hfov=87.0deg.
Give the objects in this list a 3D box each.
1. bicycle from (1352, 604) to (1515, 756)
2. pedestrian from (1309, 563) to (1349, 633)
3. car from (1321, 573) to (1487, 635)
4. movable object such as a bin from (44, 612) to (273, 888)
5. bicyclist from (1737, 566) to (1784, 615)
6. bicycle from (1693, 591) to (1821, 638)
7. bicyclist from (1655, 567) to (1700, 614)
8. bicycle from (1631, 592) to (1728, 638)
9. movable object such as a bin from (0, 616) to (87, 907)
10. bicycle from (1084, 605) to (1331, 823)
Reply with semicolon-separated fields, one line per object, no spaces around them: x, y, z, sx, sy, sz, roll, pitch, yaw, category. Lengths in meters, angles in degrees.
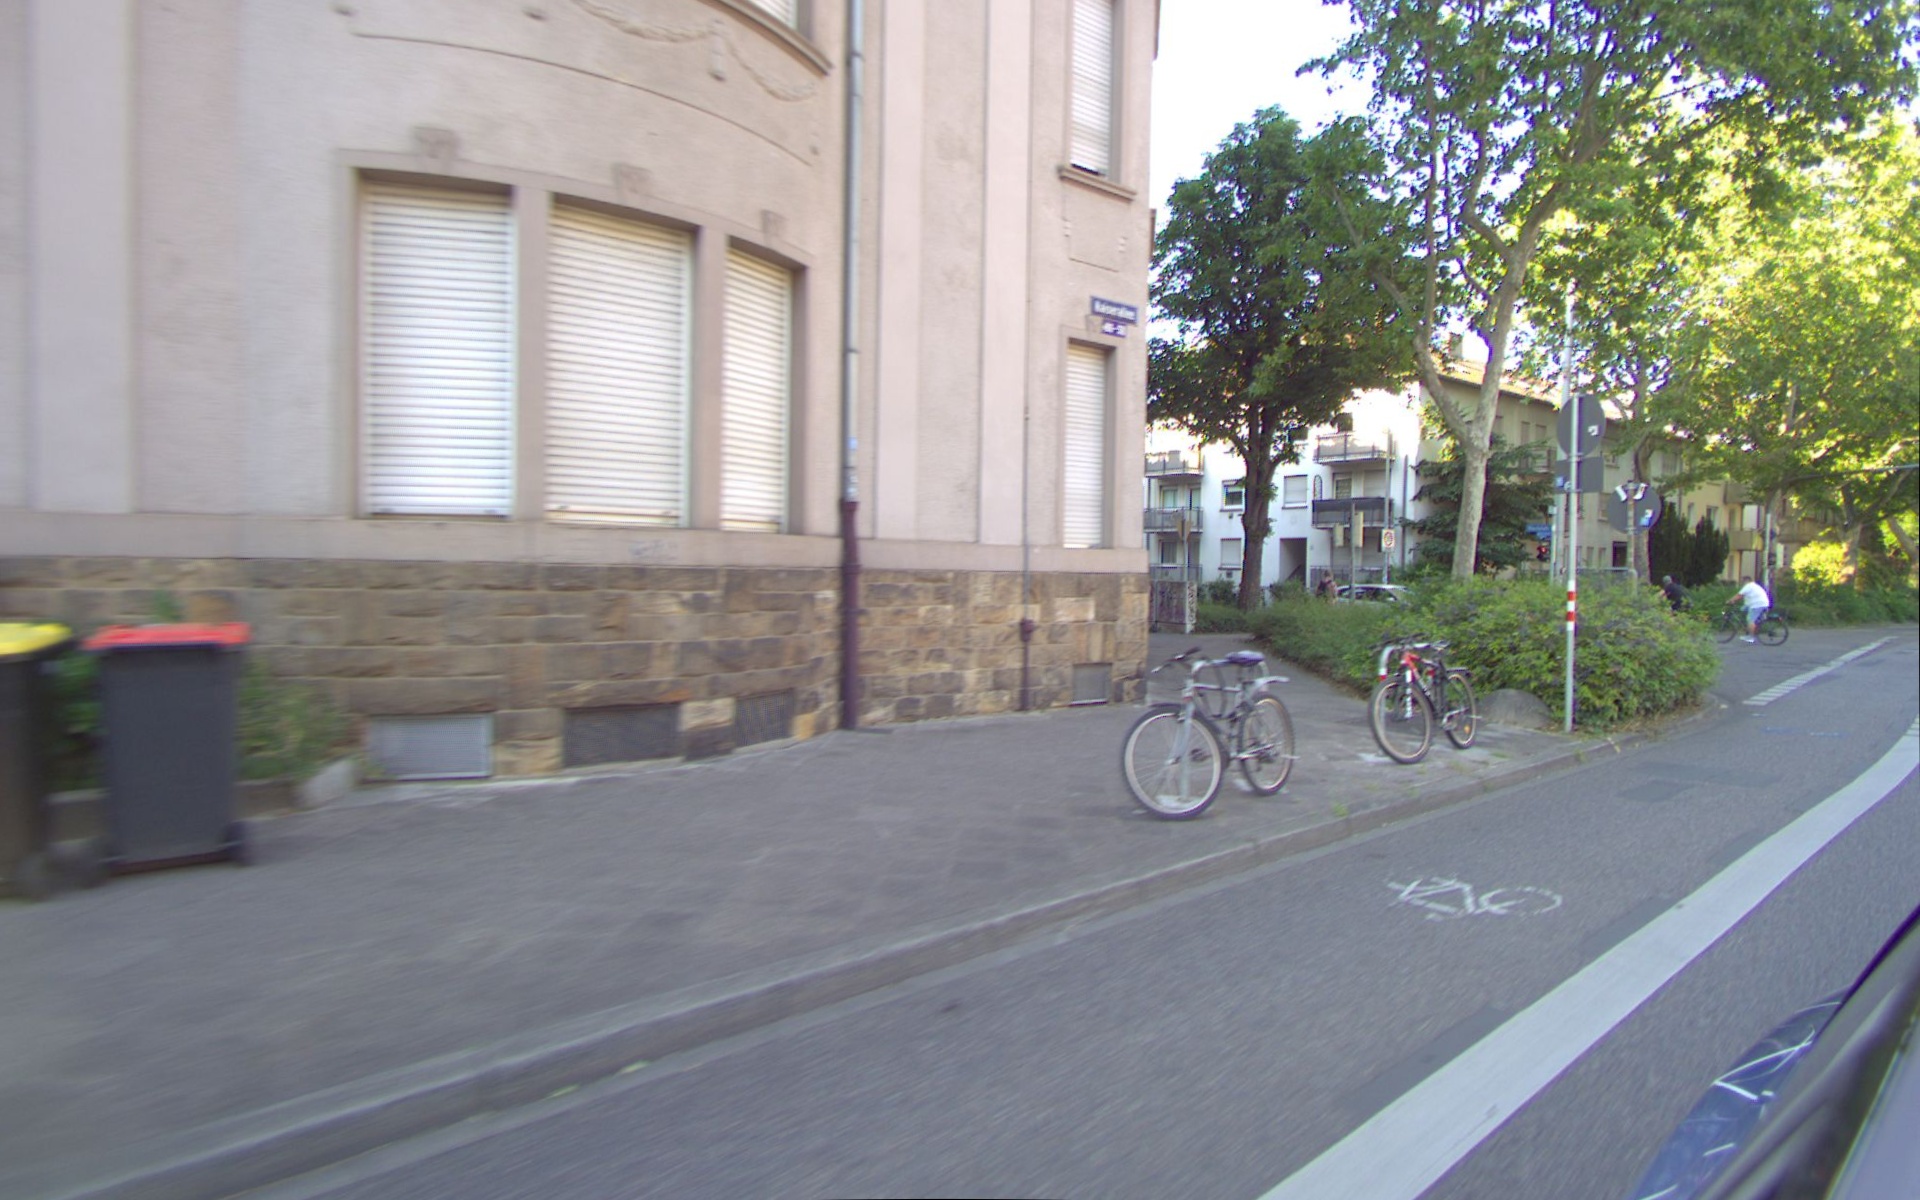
3.838;0.590;8.131;1.840;1.082;0.371;0;2;-38;bicycle
9.716;-0.067;26.659;0.688;1.828;0.667;-1;2;-29;pedestrian
12.499;0.040;28.756;1.746;1.544;4.061;-1;3;-31;car
-3.460;0.605;4.427;0.645;1.059;0.572;-1;2;-24;movable object such as a bin
20.803;-0.263;26.309;0.648;1.251;0.768;-1;3;-33;bicyclist
20.728;0.342;26.392;0.640;1.119;2.554;-1;2;-33;bicycle
18.422;-0.261;25.984;0.600;1.172;0.768;-1;3;-33;bicyclist
18.425;0.373;25.966;0.640;1.119;1.925;-1;1;-33;bicycle
-3.989;0.617;3.991;0.645;1.059;0.659;-1;2;-24;movable object such as a bin
1.557;0.607;6.147;1.899;1.112;0.437;-1;2;-42;bicycle
